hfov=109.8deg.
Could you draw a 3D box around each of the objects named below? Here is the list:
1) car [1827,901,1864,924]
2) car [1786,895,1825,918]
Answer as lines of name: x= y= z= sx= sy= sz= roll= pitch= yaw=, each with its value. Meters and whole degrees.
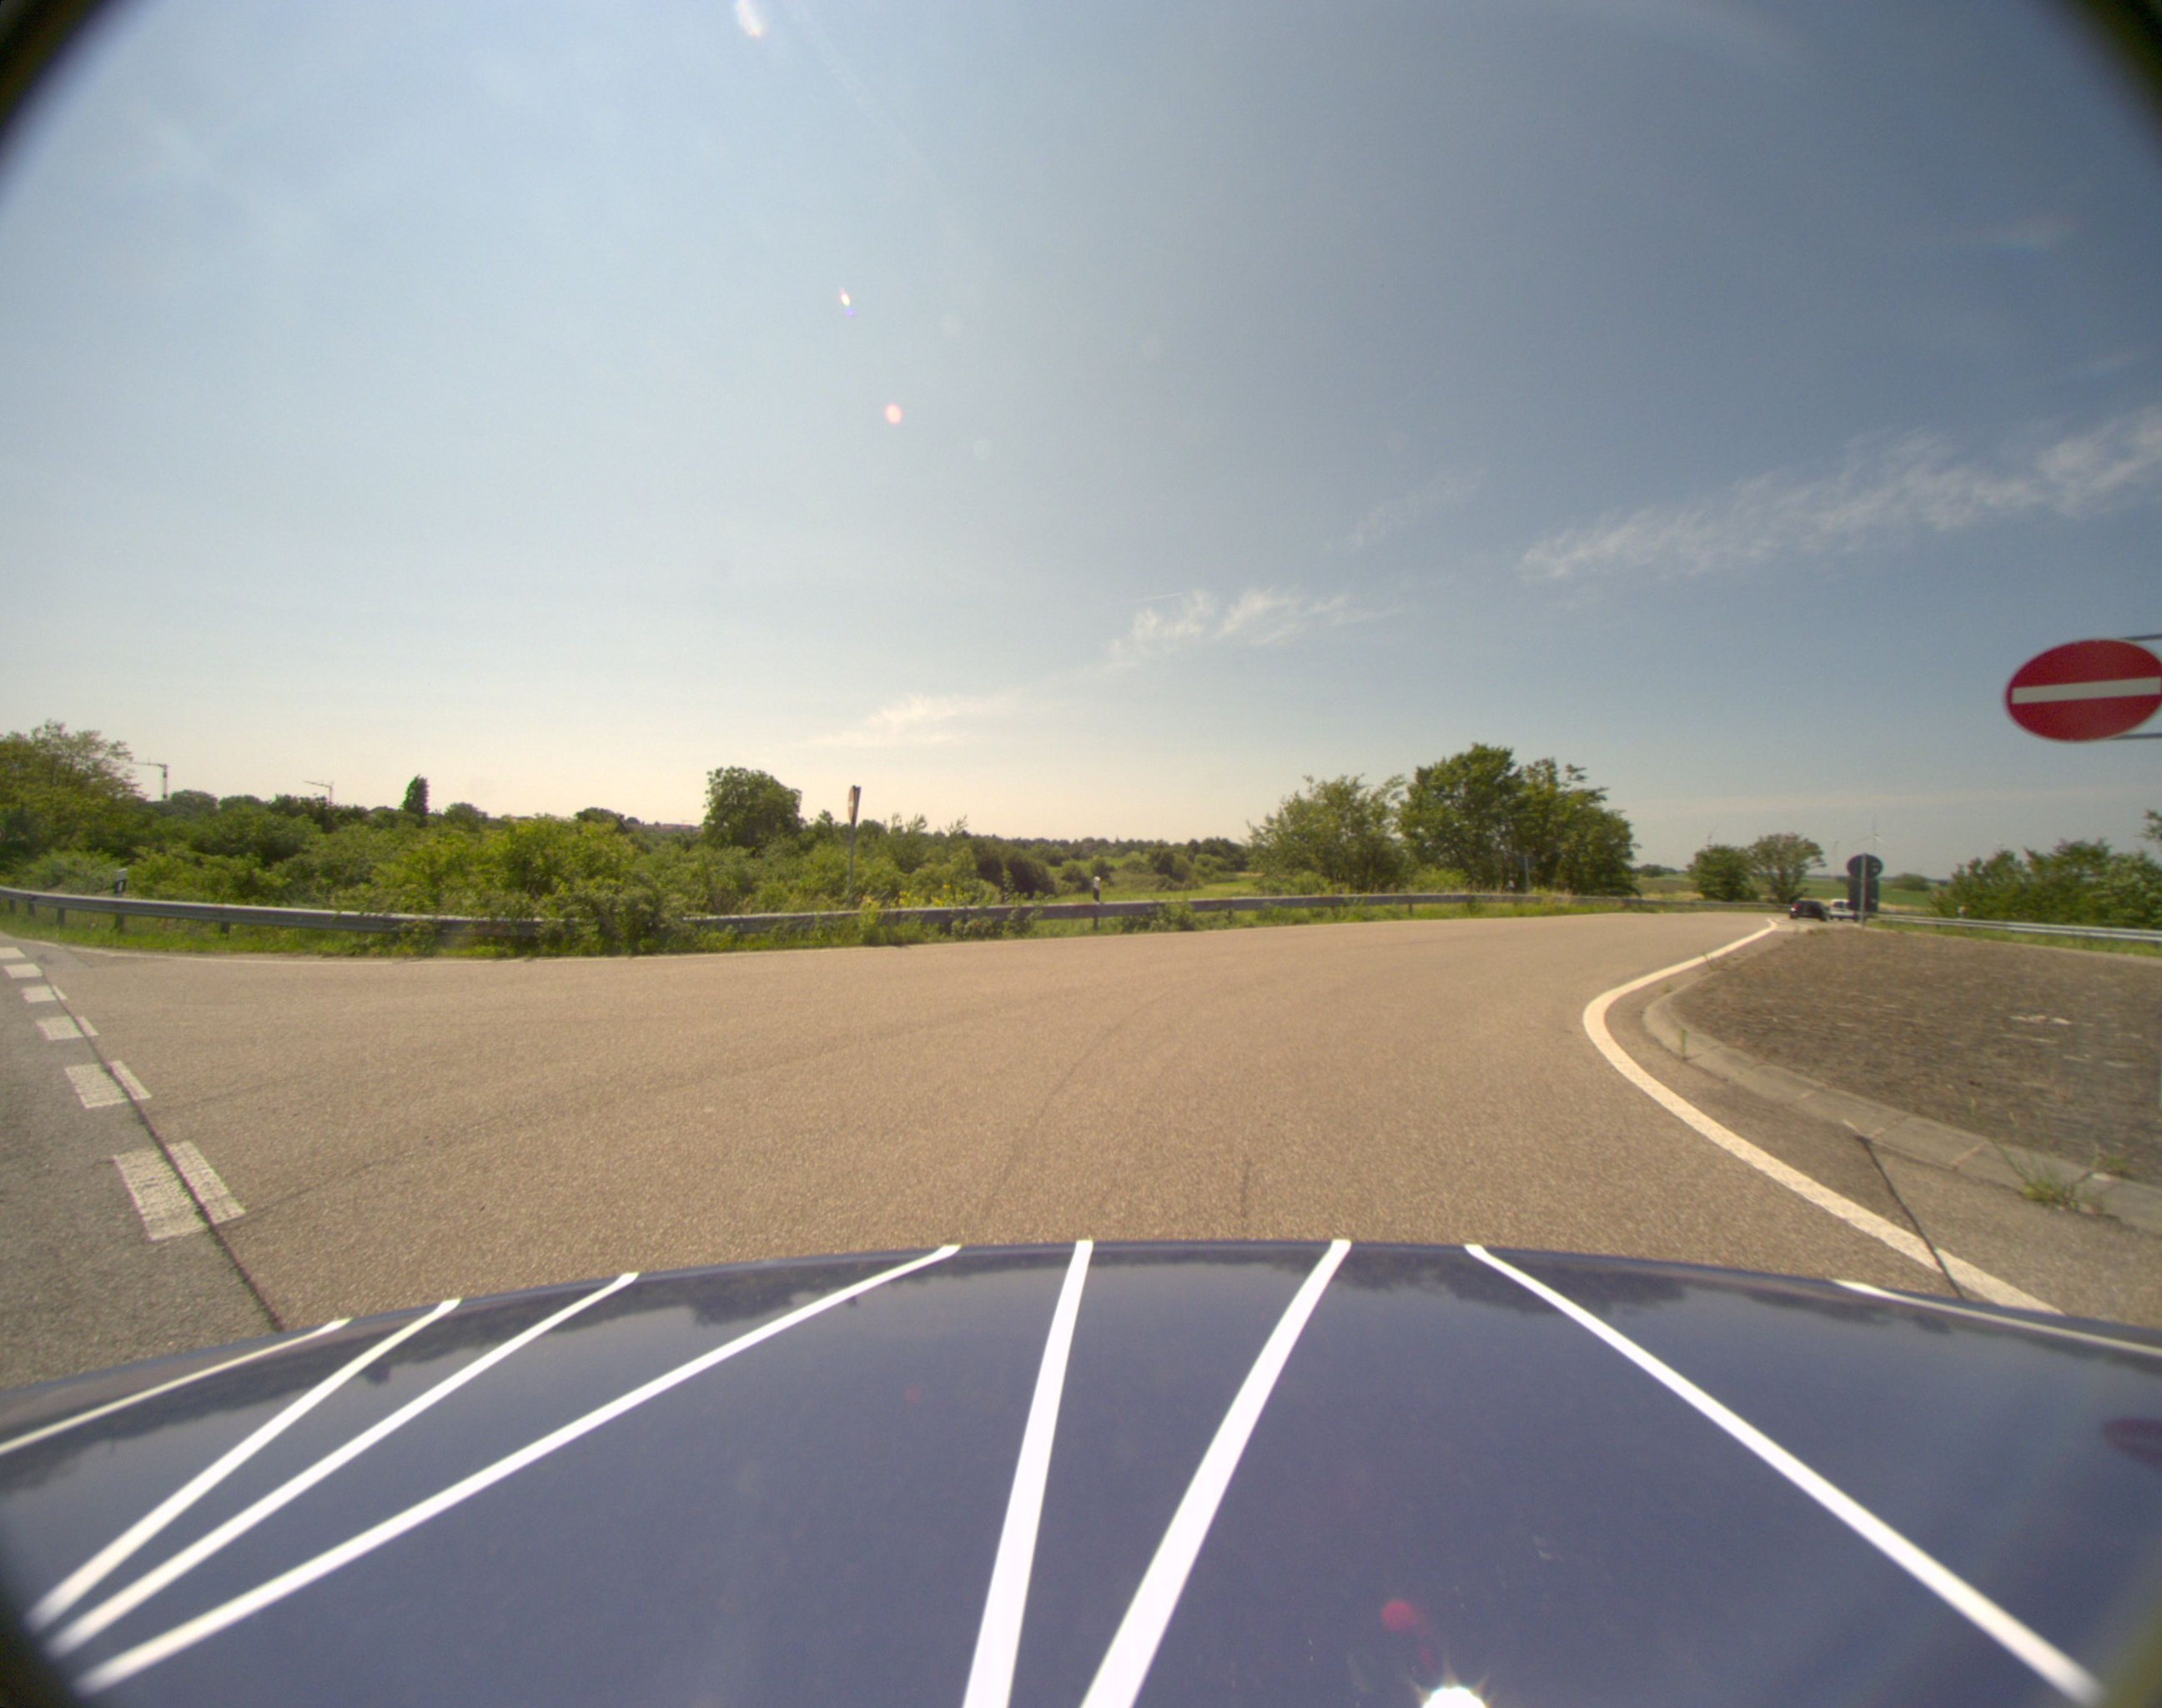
car: x=63.442 y=4.838 z=63.018 sx=4.093 sy=1.751 sz=1.737 roll=4 pitch=-1 yaw=-39
car: x=51.653 y=3.757 z=54.138 sx=3.897 sy=1.387 sz=1.708 roll=5 pitch=-1 yaw=-43
